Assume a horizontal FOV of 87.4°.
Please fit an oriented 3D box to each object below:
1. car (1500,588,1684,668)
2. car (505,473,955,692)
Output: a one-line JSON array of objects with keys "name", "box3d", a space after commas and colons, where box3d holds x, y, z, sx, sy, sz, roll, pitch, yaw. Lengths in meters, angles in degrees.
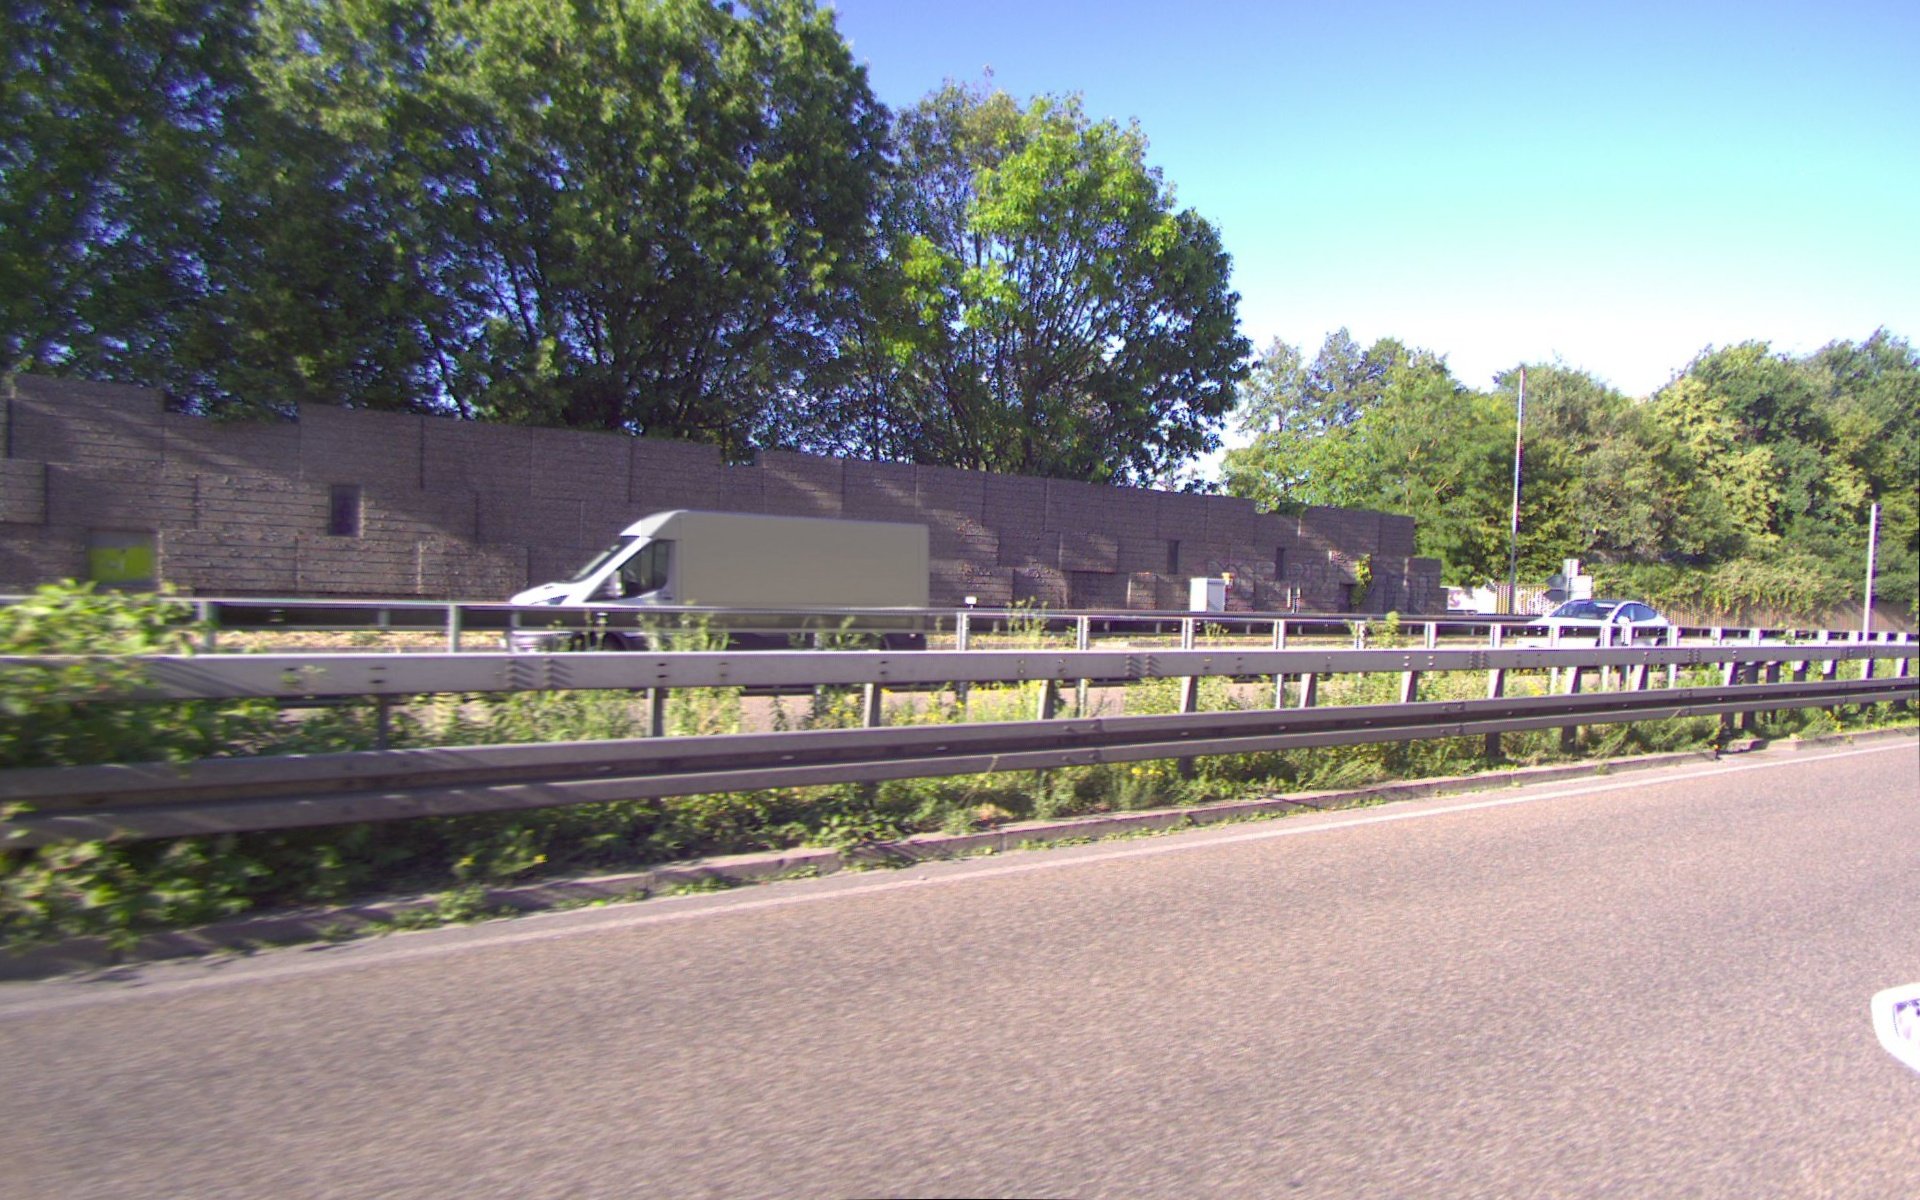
[{"name": "car", "box3d": [16.384, 0.678, 26.006, 4.728, 1.807, 1.984, 0, 4, -30]}, {"name": "car", "box3d": [-3.223, -0.259, 14.567, 5.980, 2.646, 2.136, 0, 4, -30]}]
